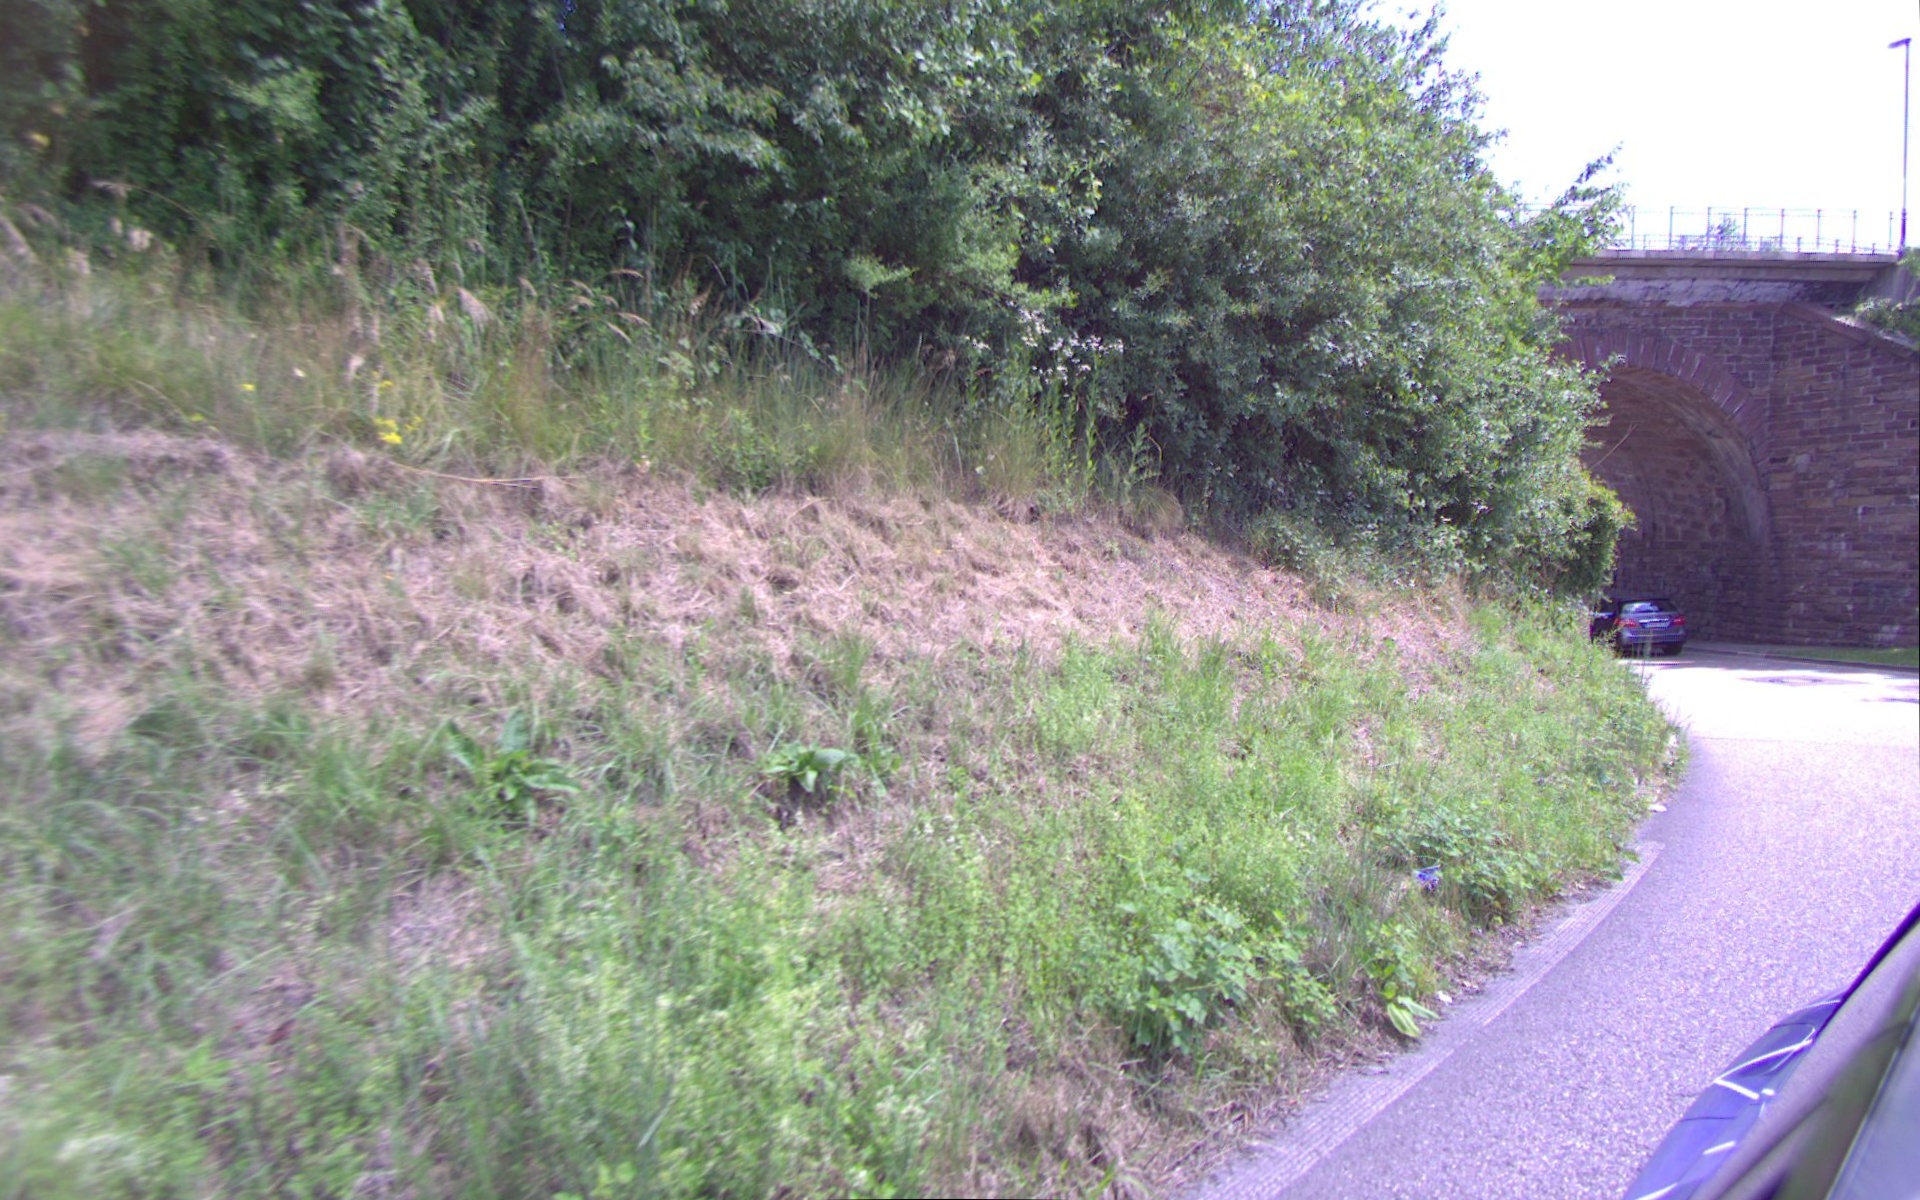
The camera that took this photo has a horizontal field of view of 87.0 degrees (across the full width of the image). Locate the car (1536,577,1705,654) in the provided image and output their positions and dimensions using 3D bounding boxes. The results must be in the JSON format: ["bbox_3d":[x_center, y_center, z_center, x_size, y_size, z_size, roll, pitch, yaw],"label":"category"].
[{"bbox_3d":[16.990,0.327,26.302,1.693,1.574,4.128,-6,2,3],"label":"car"}]
